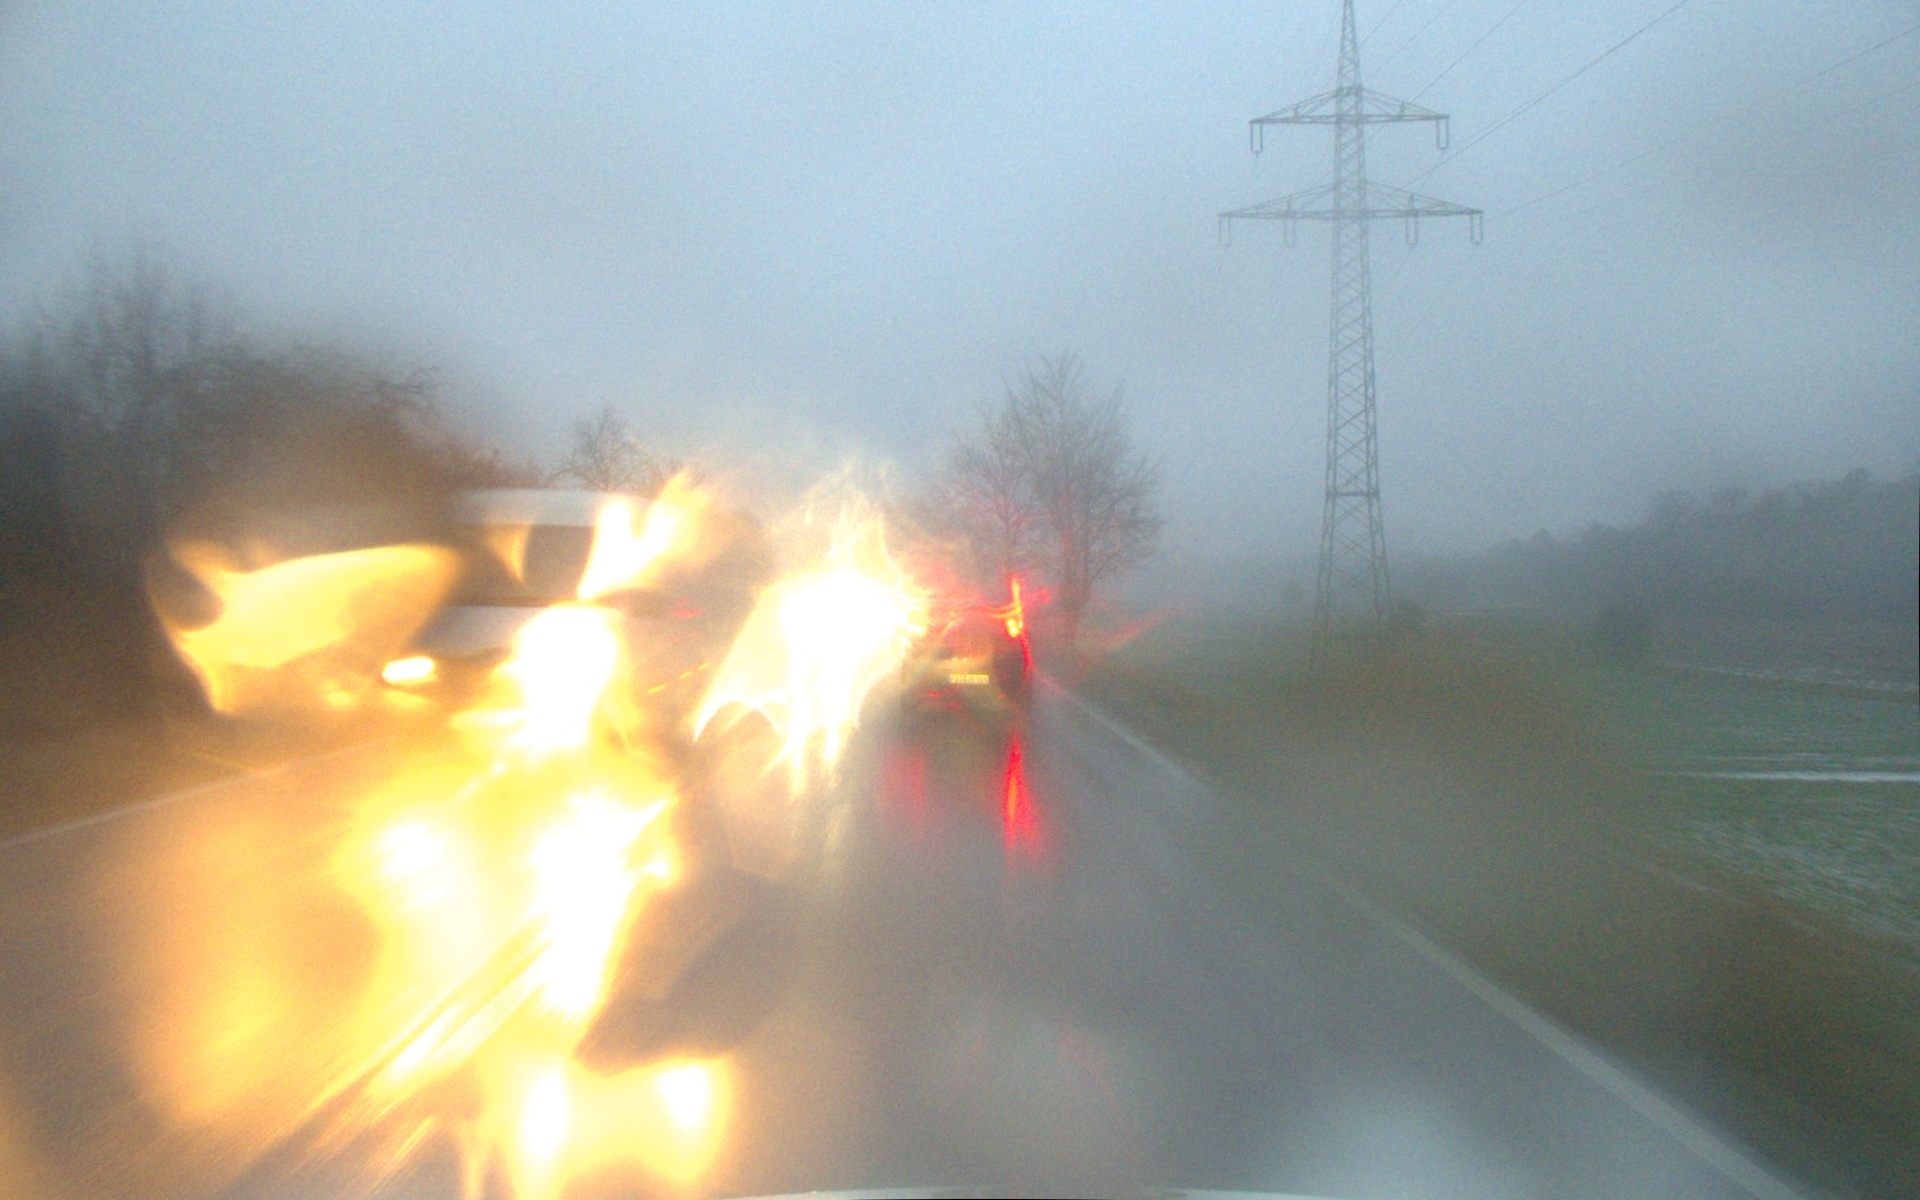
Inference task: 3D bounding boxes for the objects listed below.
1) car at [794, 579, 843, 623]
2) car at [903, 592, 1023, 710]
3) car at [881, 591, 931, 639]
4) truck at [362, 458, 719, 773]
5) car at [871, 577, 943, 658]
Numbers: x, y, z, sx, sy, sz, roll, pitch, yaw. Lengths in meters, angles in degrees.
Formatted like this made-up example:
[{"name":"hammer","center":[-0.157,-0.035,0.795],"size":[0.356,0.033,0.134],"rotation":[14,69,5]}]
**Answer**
[{"name":"car","center":[-5.983,0.020,70.192],"size":[1.749,1.781,4.257],"rotation":[0,0,-1]},{"name":"car","center":[0.025,0.627,21.940],"size":[1.469,1.423,3.199],"rotation":[1,0,-1]},{"name":"car","center":[-2.091,0.555,63.358],"size":[1.826,1.729,4.466],"rotation":[1,0,-3]},{"name":"truck","center":[-3.763,0.124,16.013],"size":[2.193,2.510,5.372],"rotation":[1,0,-2]},{"name":"car","center":[-1.387,0.449,44.644],"size":[1.814,2.049,3.999],"rotation":[1,0,-1]}]
